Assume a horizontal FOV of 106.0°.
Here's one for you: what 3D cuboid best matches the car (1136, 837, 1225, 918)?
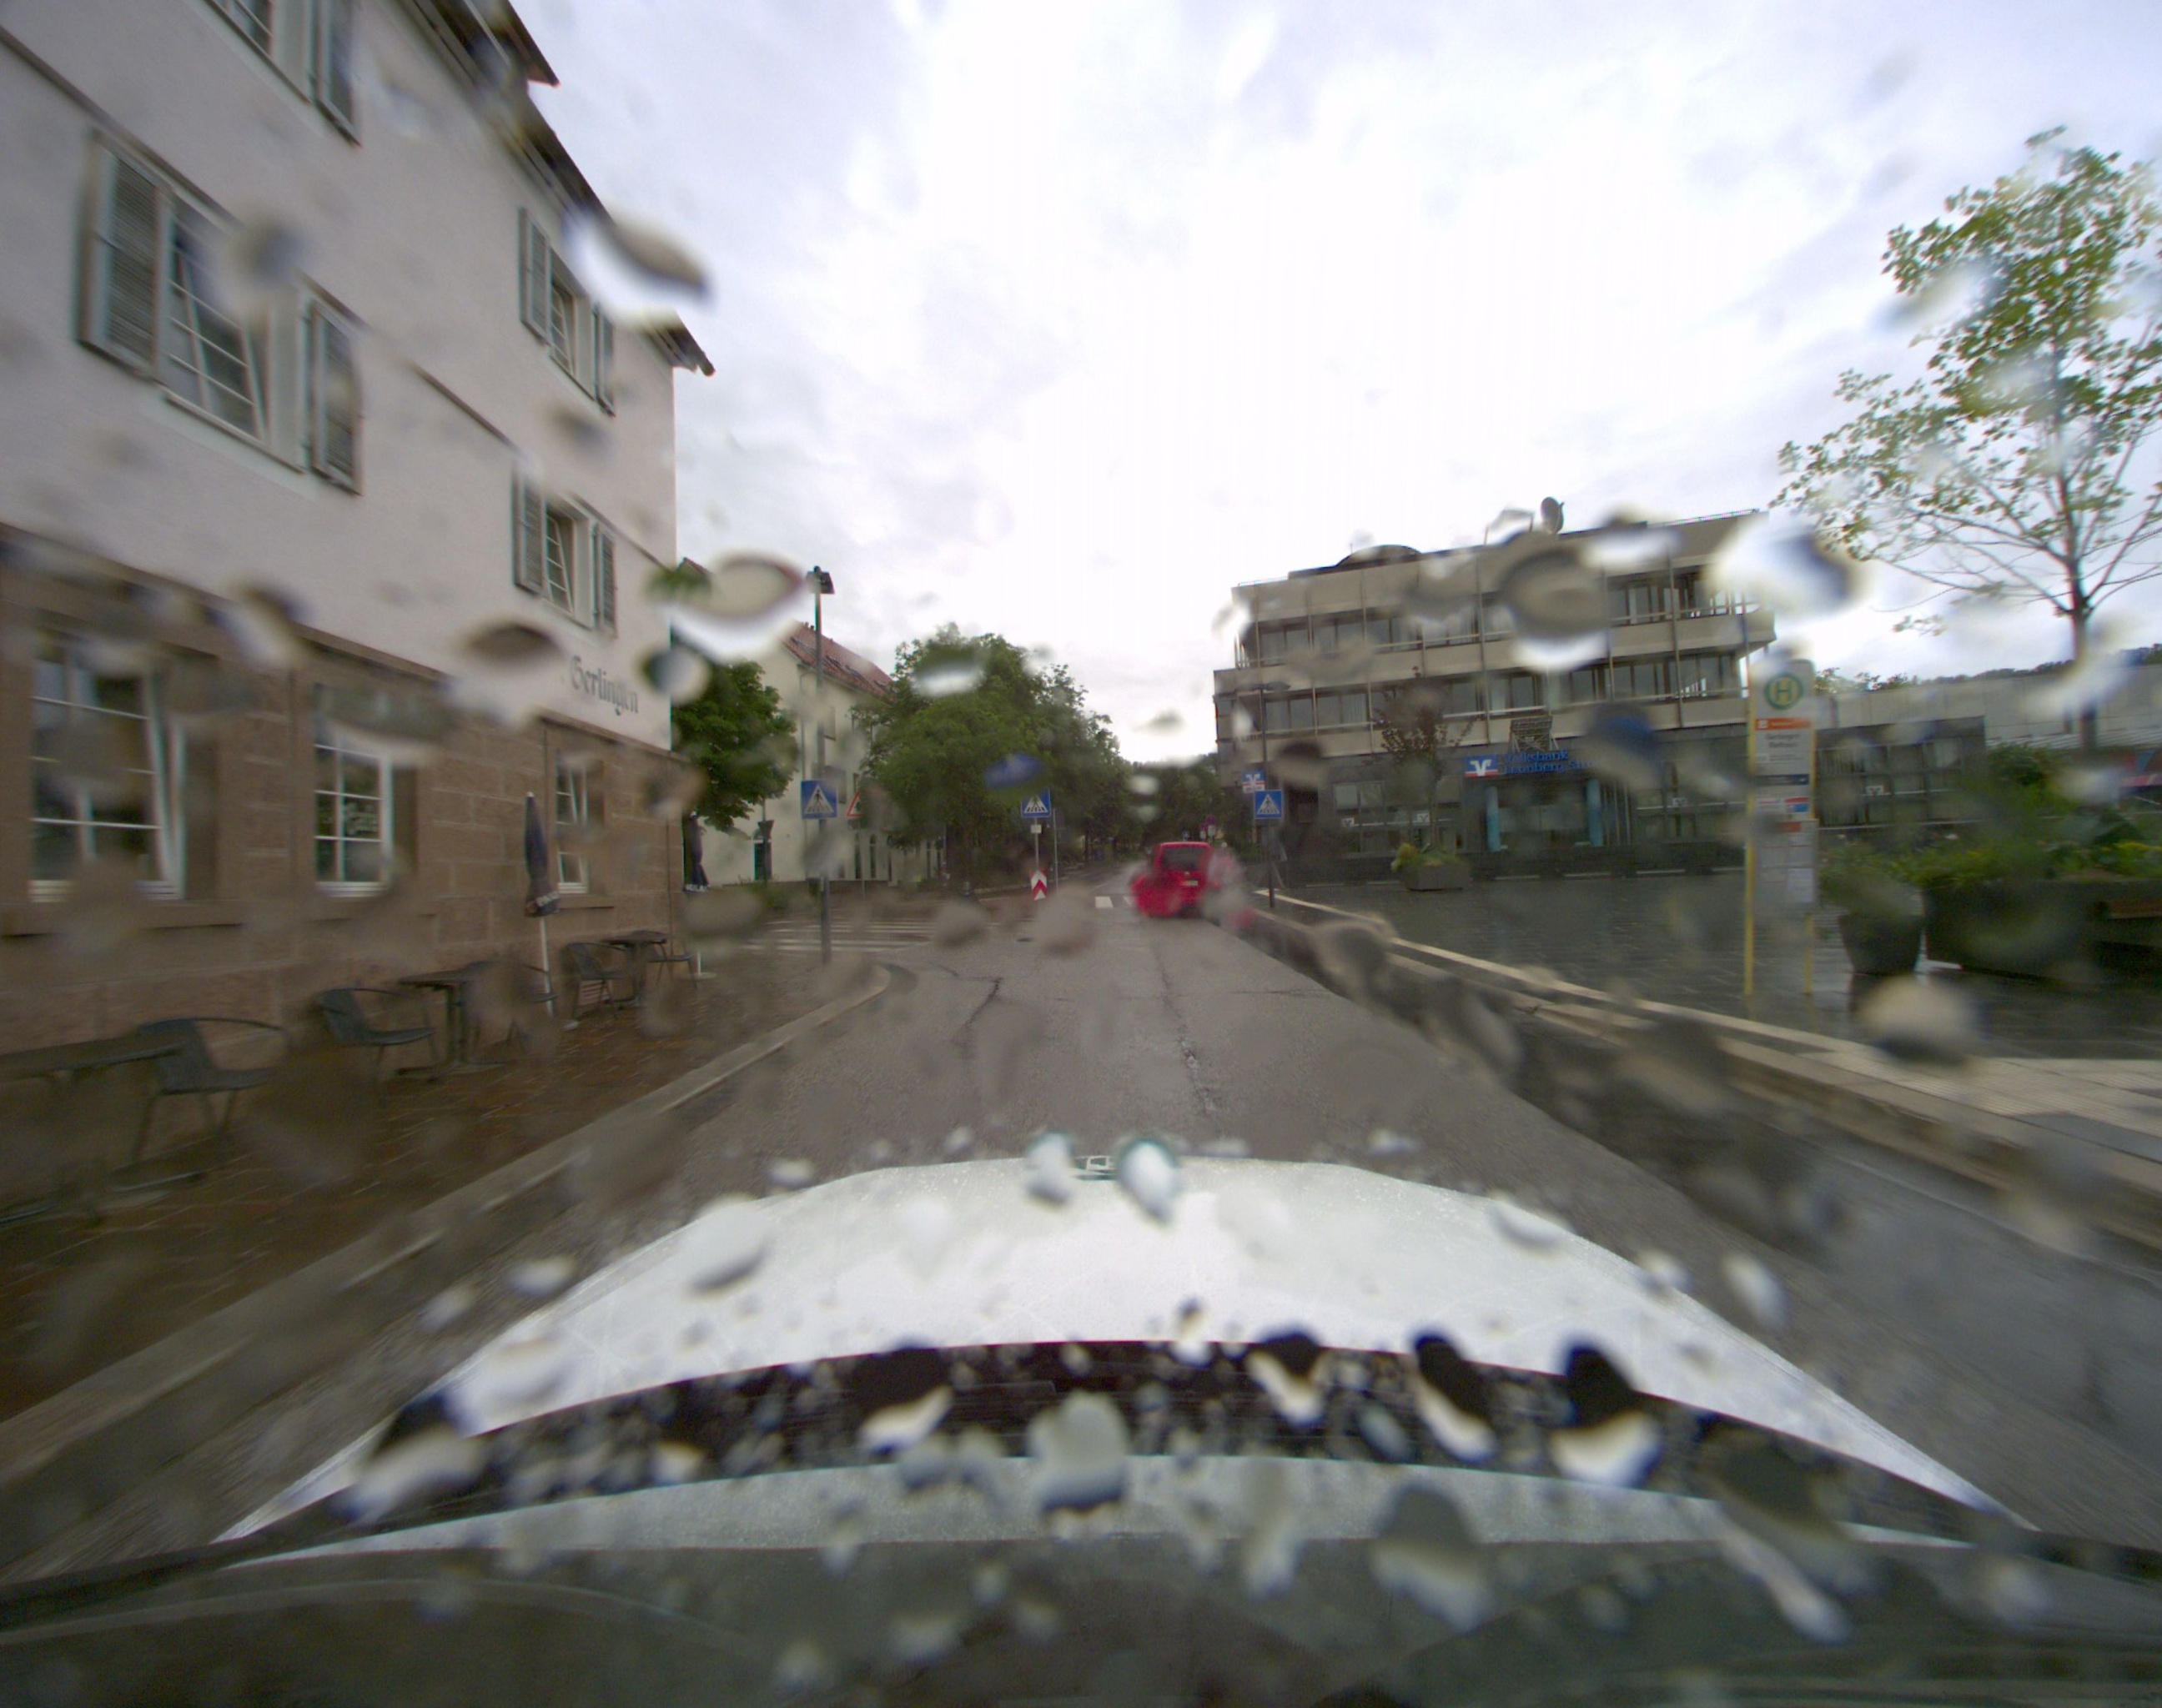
[{"bbox_3d":[2.498,0.594,21.336,1.855,1.830,4.186,-3,-1,1],"label":"car"}]

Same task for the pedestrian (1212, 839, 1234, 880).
[{"bbox_3d":[6.506,0.241,37.341,0.827,1.830,0.819,-1,0,19],"label":"pedestrian"}]

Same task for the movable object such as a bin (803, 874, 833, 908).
[{"bbox_3d":[-9.293,1.312,28.766,0.731,1.124,0.653,-4,-2,16],"label":"movable object such as a bin"}]
